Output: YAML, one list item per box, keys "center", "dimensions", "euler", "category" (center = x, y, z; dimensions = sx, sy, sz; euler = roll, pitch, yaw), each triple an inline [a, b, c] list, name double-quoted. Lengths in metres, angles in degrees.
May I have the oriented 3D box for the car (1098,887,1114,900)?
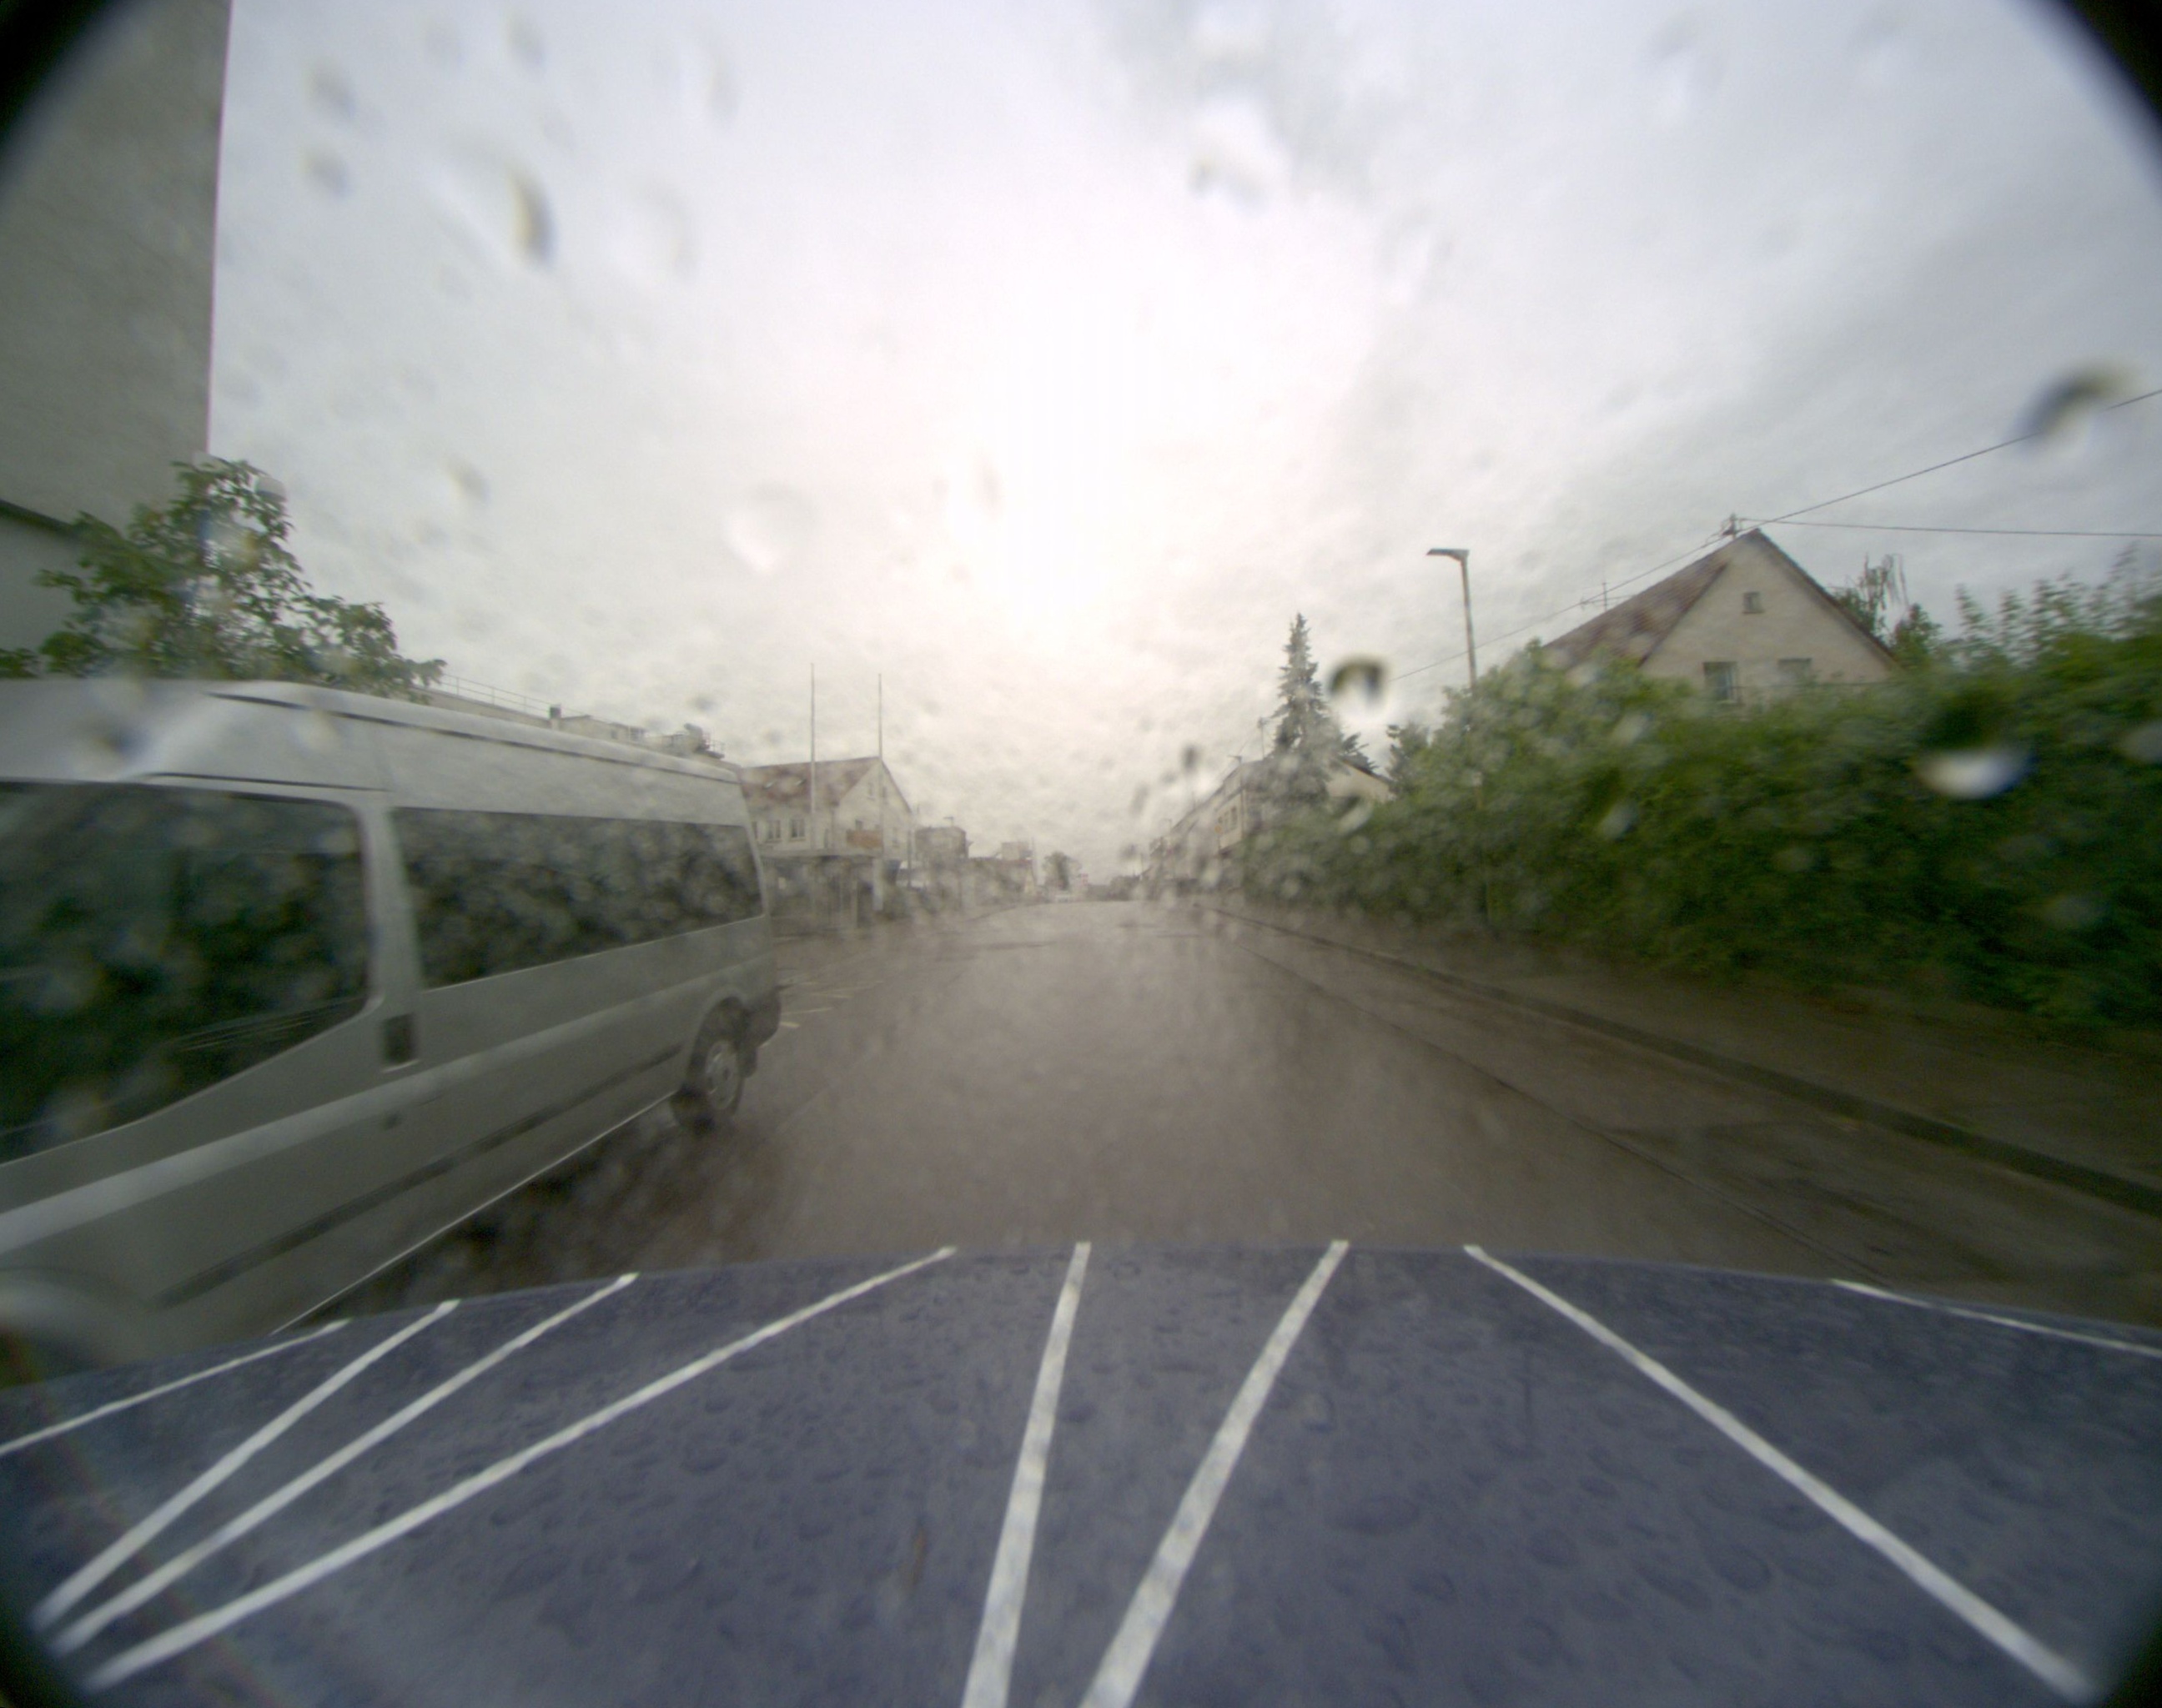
- center: [3.298, 5.254, 101.394]
  dimensions: [1.898, 1.523, 4.001]
  euler: [-1, -2, -1]
  category: "car"

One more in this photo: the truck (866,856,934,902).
- center: [-12.630, 1.730, 53.574]
  dimensions: [2.324, 2.950, 7.137]
  euler: [-1, -2, 7]
  category: "truck"

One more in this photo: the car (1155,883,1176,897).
- center: [9.531, 4.064, 85.873]
  dimensions: [1.898, 1.523, 4.001]
  euler: [-1, -2, -1]
  category: "car"

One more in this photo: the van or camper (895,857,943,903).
- center: [-9.267, 1.492, 43.816]
  dimensions: [2.090, 2.480, 5.804]
  euler: [0, -2, -6]
  category: "van or camper"

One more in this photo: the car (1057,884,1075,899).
- center: [-1.659, 4.129, 83.936]
  dimensions: [1.898, 1.537, 4.001]
  euler: [-1, -2, -1]
  category: "car"

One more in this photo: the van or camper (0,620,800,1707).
- center: [-3.152, 0.670, 2.952]
  dimensions: [1.998, 2.229, 5.442]
  euler: [-1, -1, 1]
  category: "van or camper"

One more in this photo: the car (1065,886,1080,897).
- center: [-1.139, 5.029, 102.091]
  dimensions: [1.898, 1.470, 4.001]
  euler: [-1, -2, -1]
  category: "car"
